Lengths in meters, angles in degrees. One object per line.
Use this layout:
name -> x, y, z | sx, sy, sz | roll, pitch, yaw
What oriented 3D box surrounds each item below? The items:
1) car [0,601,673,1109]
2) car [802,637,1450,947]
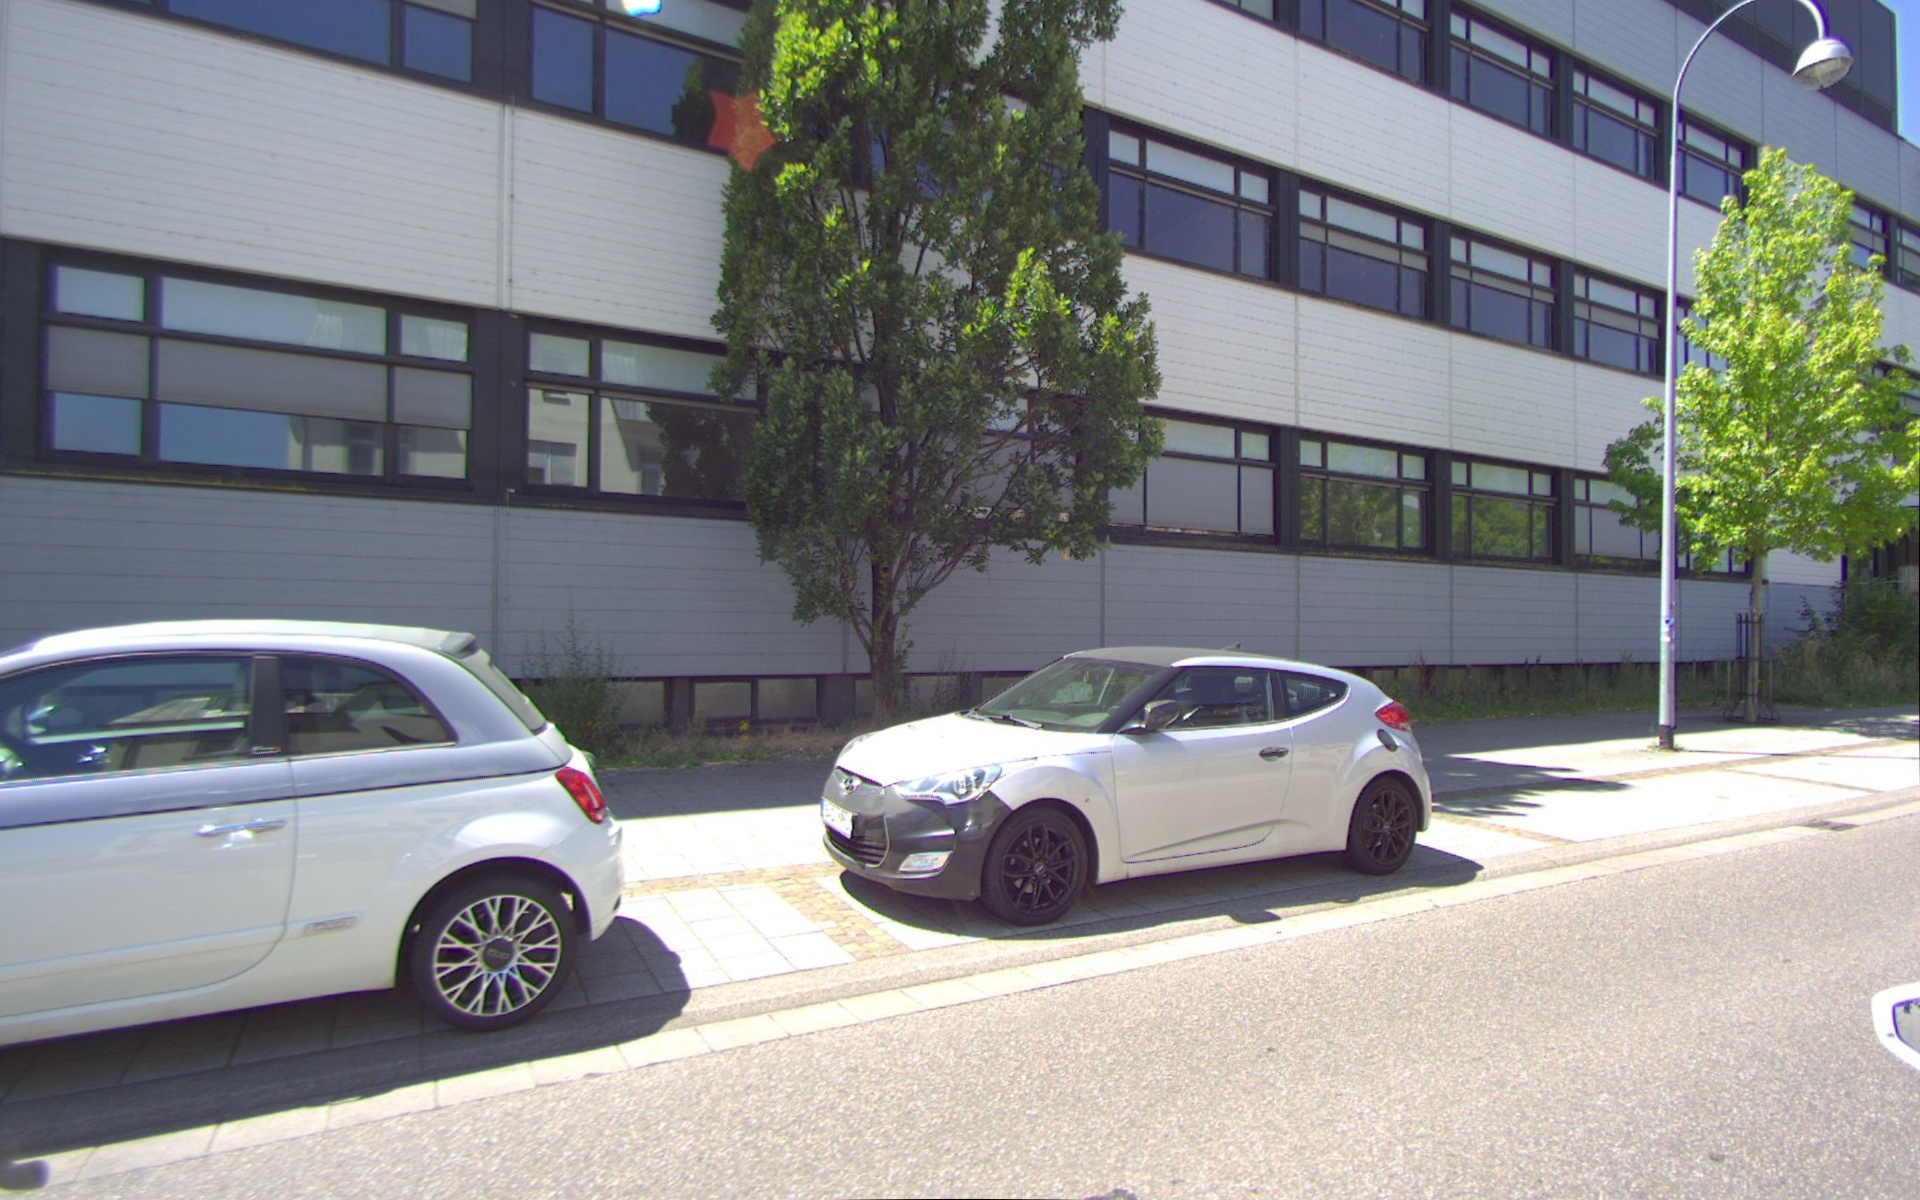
car -> -3.436, 0.786, 3.776 | 4.237, 1.532, 1.814 | 2, -2, -29
car -> 1.121, 0.989, 6.485 | 3.884, 1.428, 1.741 | 2, -1, -28
